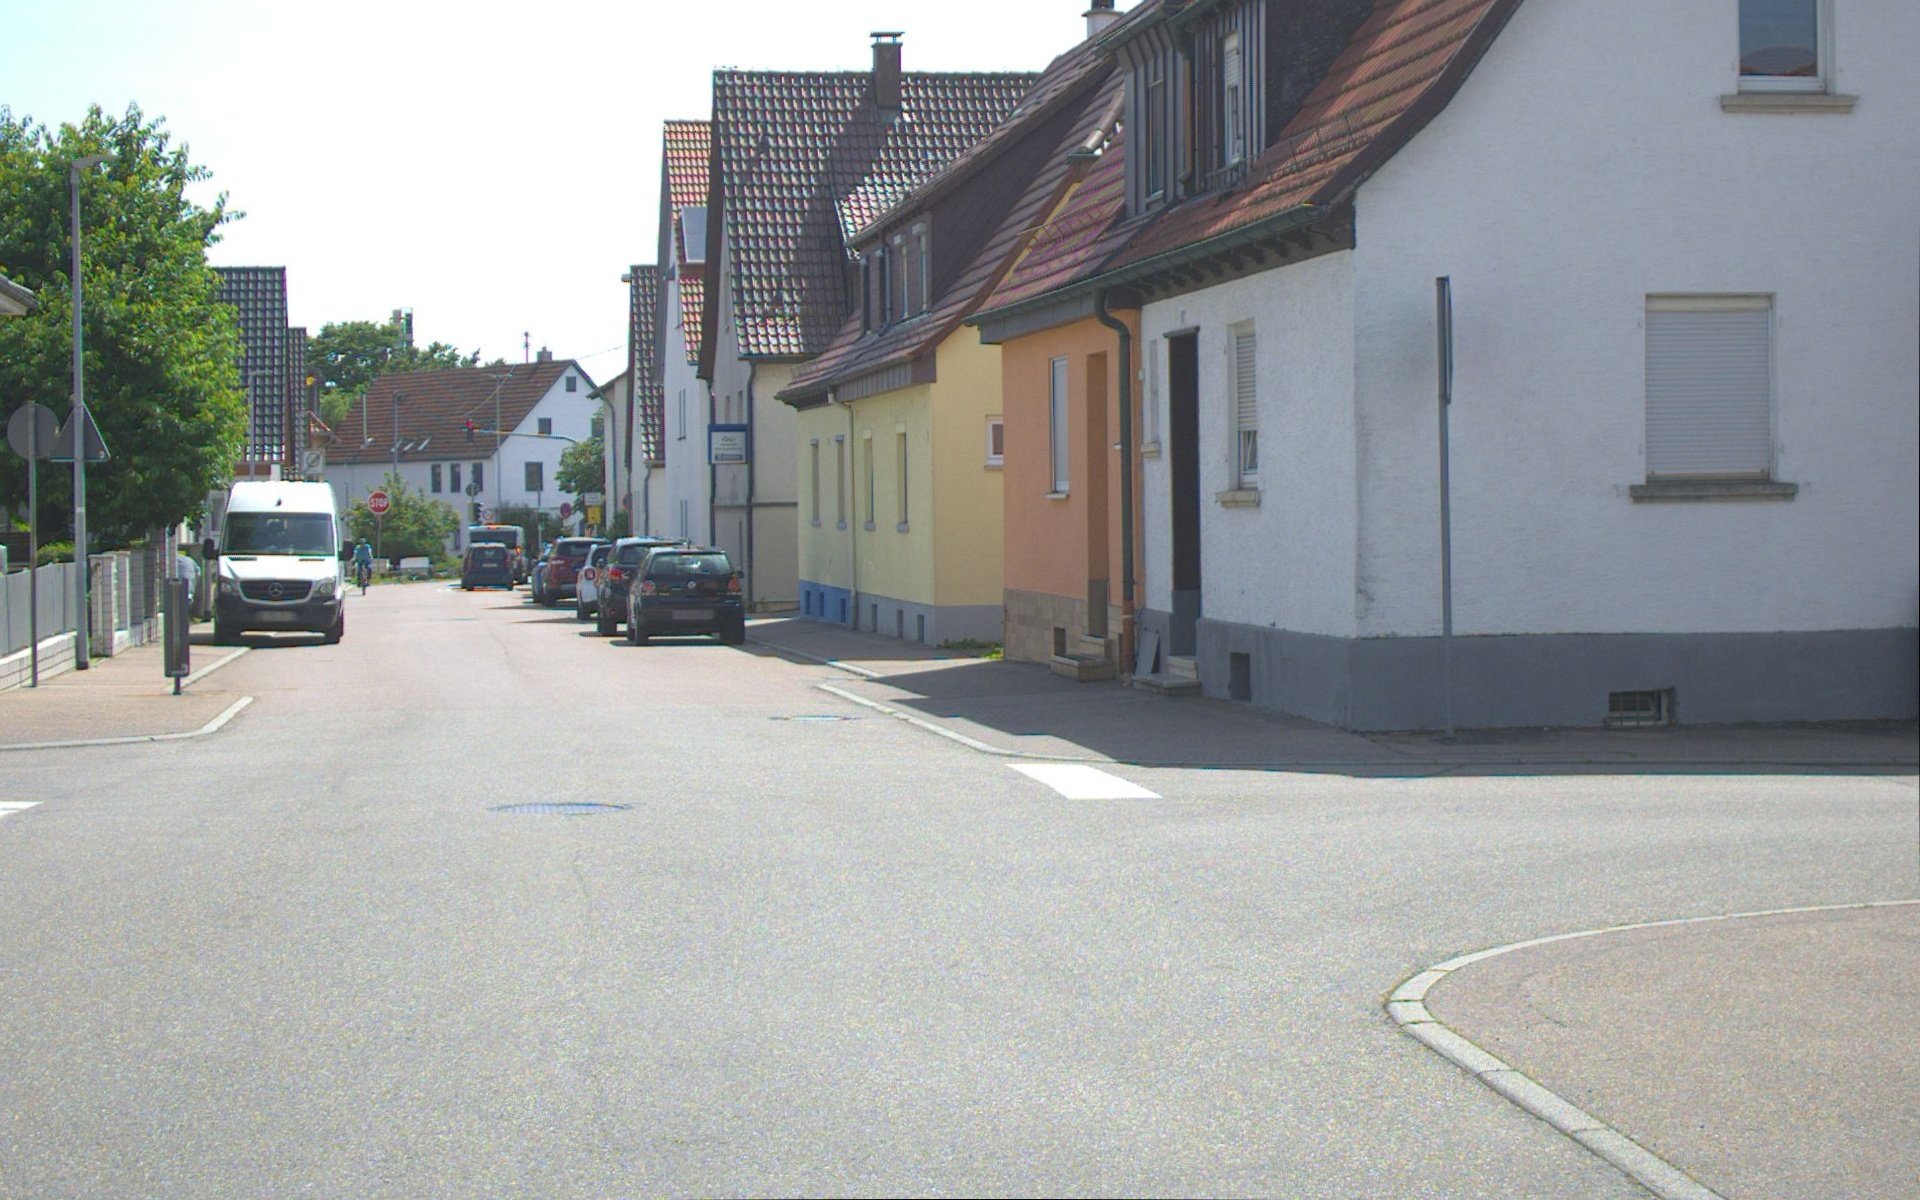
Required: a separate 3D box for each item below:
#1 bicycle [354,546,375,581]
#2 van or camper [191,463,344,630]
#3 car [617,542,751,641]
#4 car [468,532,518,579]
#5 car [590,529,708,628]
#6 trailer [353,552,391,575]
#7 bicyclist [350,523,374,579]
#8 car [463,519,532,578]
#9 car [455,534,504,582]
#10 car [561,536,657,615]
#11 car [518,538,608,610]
[{"bbox_3d":[-19.095,-1.177,110.204,0.670,1.128,2.190,0,1,-10],"label":"bicycle"},{"bbox_3d":[-11.255,-0.879,56.261,2.184,2.563,6.809,0,1,-9],"label":"van or camper"},{"bbox_3d":[-4.183,-0.155,51.747,1.610,1.426,3.755,0,1,-11],"label":"car"},{"bbox_3d":[-15.567,-1.495,114.776,1.515,1.561,3.185,0,1,-5],"label":"car"},{"bbox_3d":[-5.225,-0.381,57.432,1.728,1.594,4.254,0,1,-8],"label":"car"},{"bbox_3d":[-24.549,-1.524,143.452,1.501,0.924,1.012,1,1,-7],"label":"trailer"},{"bbox_3d":[-19.166,-1.580,110.201,0.713,1.792,0.942,0,1,-11],"label":"bicyclist"},{"bbox_3d":[-17.253,-1.925,128.300,2.128,2.151,4.737,-1,1,-3],"label":"car"},{"bbox_3d":[-16.582,-1.460,118.727,1.515,1.619,3.185,-1,1,-5],"label":"car"},{"bbox_3d":[-7.087,-0.511,69.229,1.673,1.553,3.041,0,1,-11],"label":"car"},{"bbox_3d":[-9.716,-0.652,83.934,1.875,1.694,4.184,0,1,-11],"label":"car"}]
